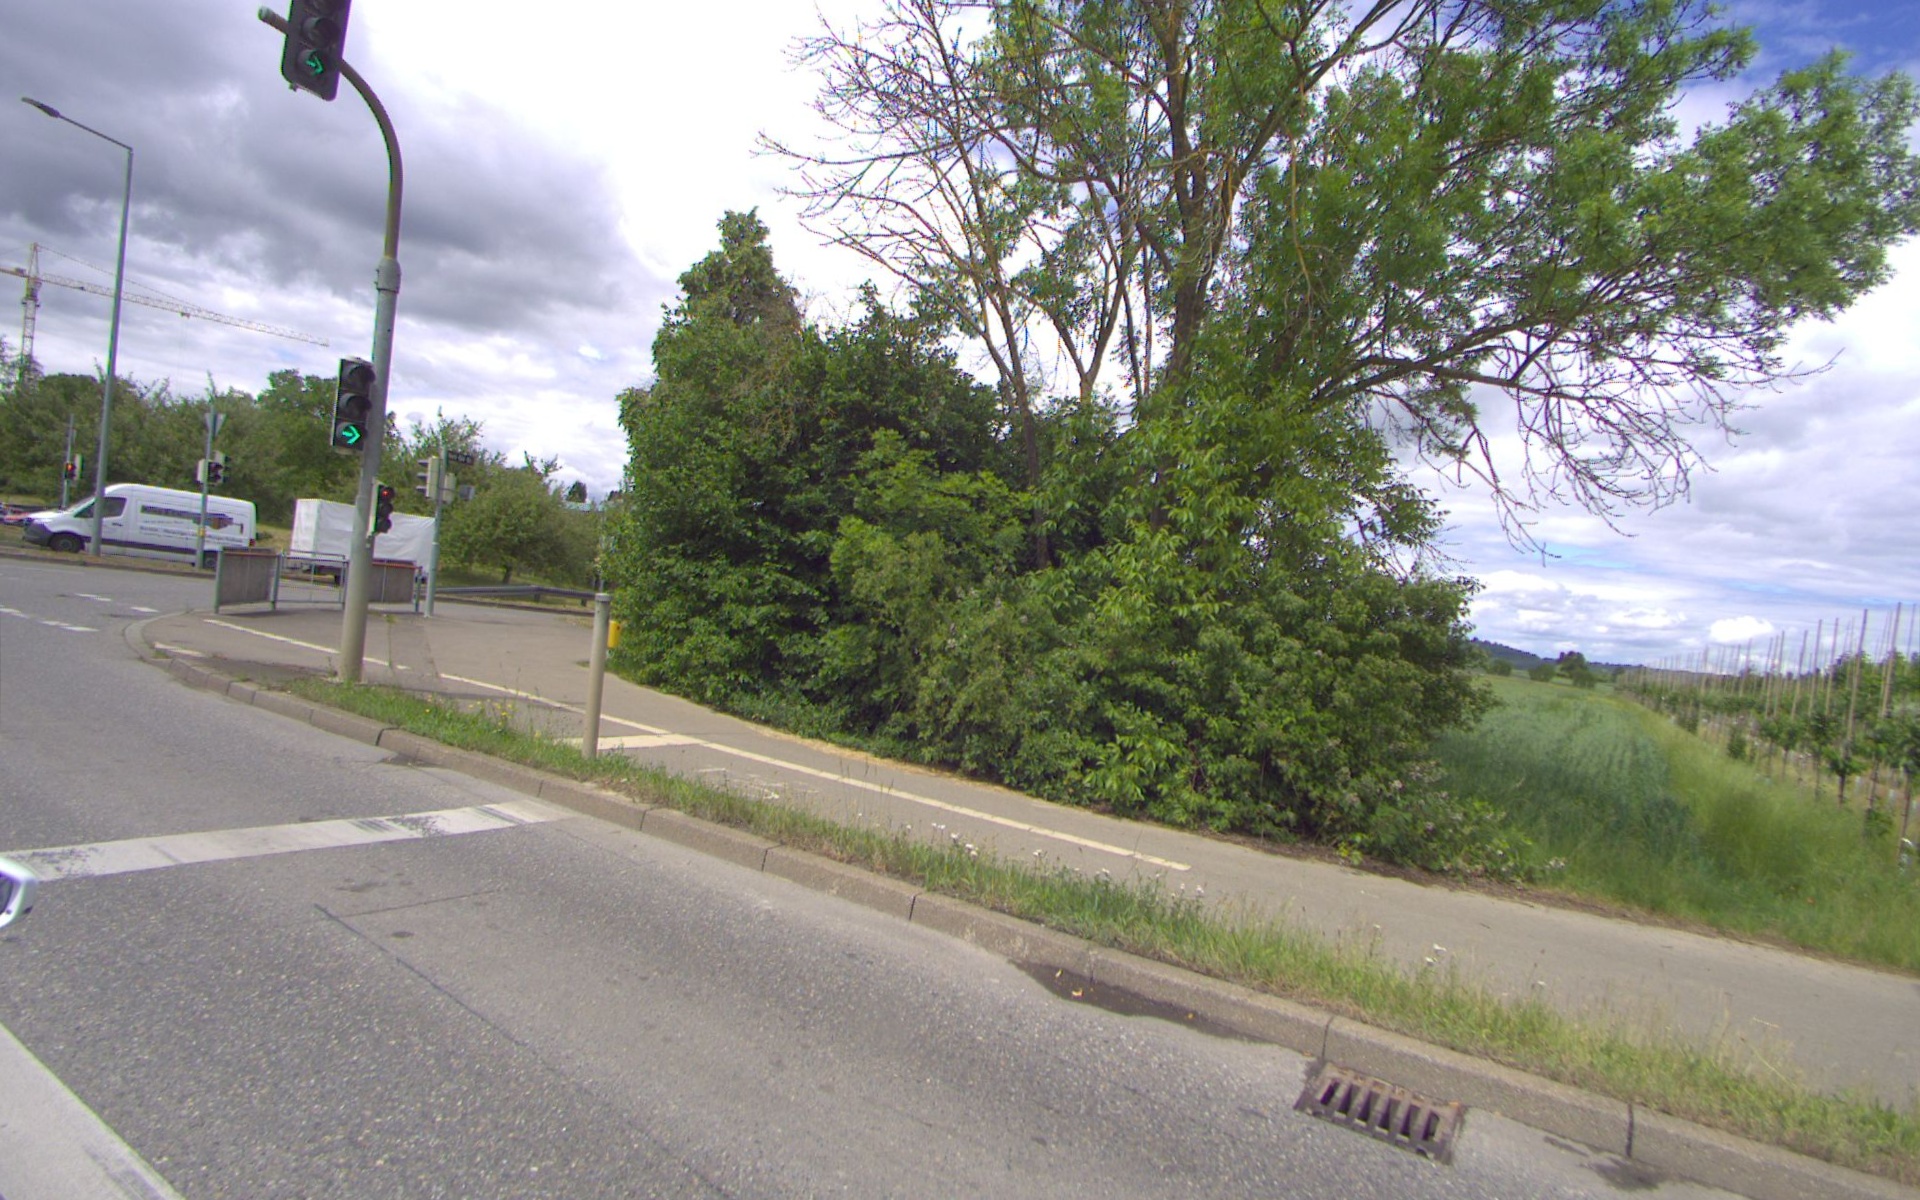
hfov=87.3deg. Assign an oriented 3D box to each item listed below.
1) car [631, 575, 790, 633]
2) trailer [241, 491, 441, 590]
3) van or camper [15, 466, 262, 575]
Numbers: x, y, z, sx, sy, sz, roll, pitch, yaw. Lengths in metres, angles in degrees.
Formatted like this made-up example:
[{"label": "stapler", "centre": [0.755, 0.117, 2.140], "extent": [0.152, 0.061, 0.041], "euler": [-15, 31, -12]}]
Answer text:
[{"label": "car", "centre": [-8.403, 0.189, 34.356], "extent": [1.850, 1.459, 5.181], "euler": [7, 0, 37]}, {"label": "trailer", "centre": [-22.852, -2.135, 37.337], "extent": [2.217, 2.841, 5.755], "euler": [7, 0, 43]}, {"label": "van or camper", "centre": [-26.829, -2.525, 33.064], "extent": [2.219, 2.563, 5.906], "euler": [7, -1, 43]}]
